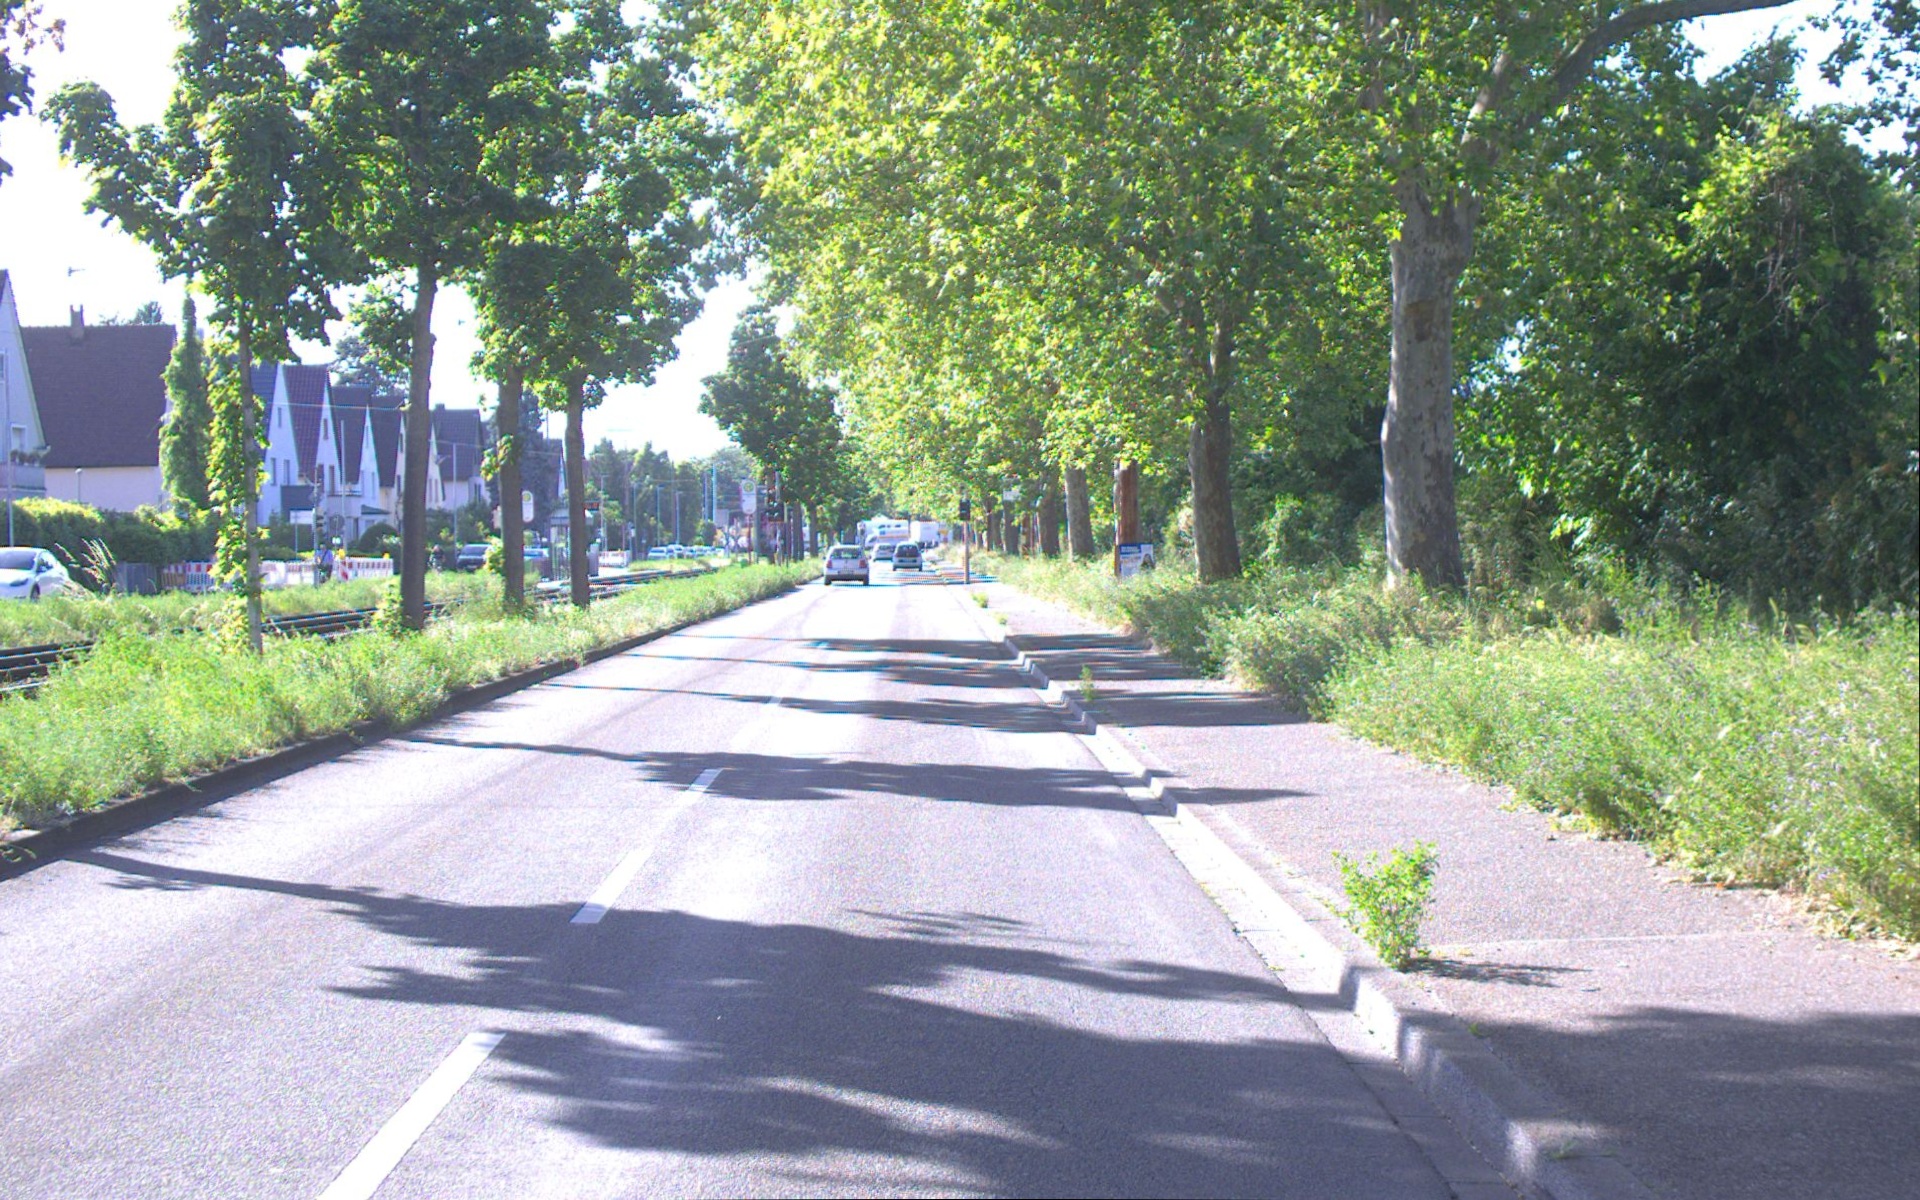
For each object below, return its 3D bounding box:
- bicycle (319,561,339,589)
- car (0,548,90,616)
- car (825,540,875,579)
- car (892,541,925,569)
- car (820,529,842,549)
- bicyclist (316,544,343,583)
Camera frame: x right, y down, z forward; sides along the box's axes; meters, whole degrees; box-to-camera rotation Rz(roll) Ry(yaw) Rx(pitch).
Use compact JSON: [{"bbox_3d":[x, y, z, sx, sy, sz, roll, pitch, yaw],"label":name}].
[{"bbox_3d":[-20.801,-0.819,113.344,0.441,0.898,2.061,1,0,-5],"label":"bicycle"},{"bbox_3d":[-22.957,-0.454,83.984,1.994,1.593,4.731,1,0,3],"label":"car"},{"bbox_3d":[-3.994,-1.462,124.884,1.738,1.396,3.277,1,0,-1],"label":"car"},{"bbox_3d":[-2.863,-2.508,192.416,1.761,1.508,3.277,1,0,0],"label":"car"},{"bbox_3d":[-9.663,-4.600,257.511,1.527,1.450,3.287,1,0,0],"label":"car"},{"bbox_3d":[-20.786,-1.195,113.394,0.798,1.273,0.737,1,0,-4],"label":"bicyclist"}]
